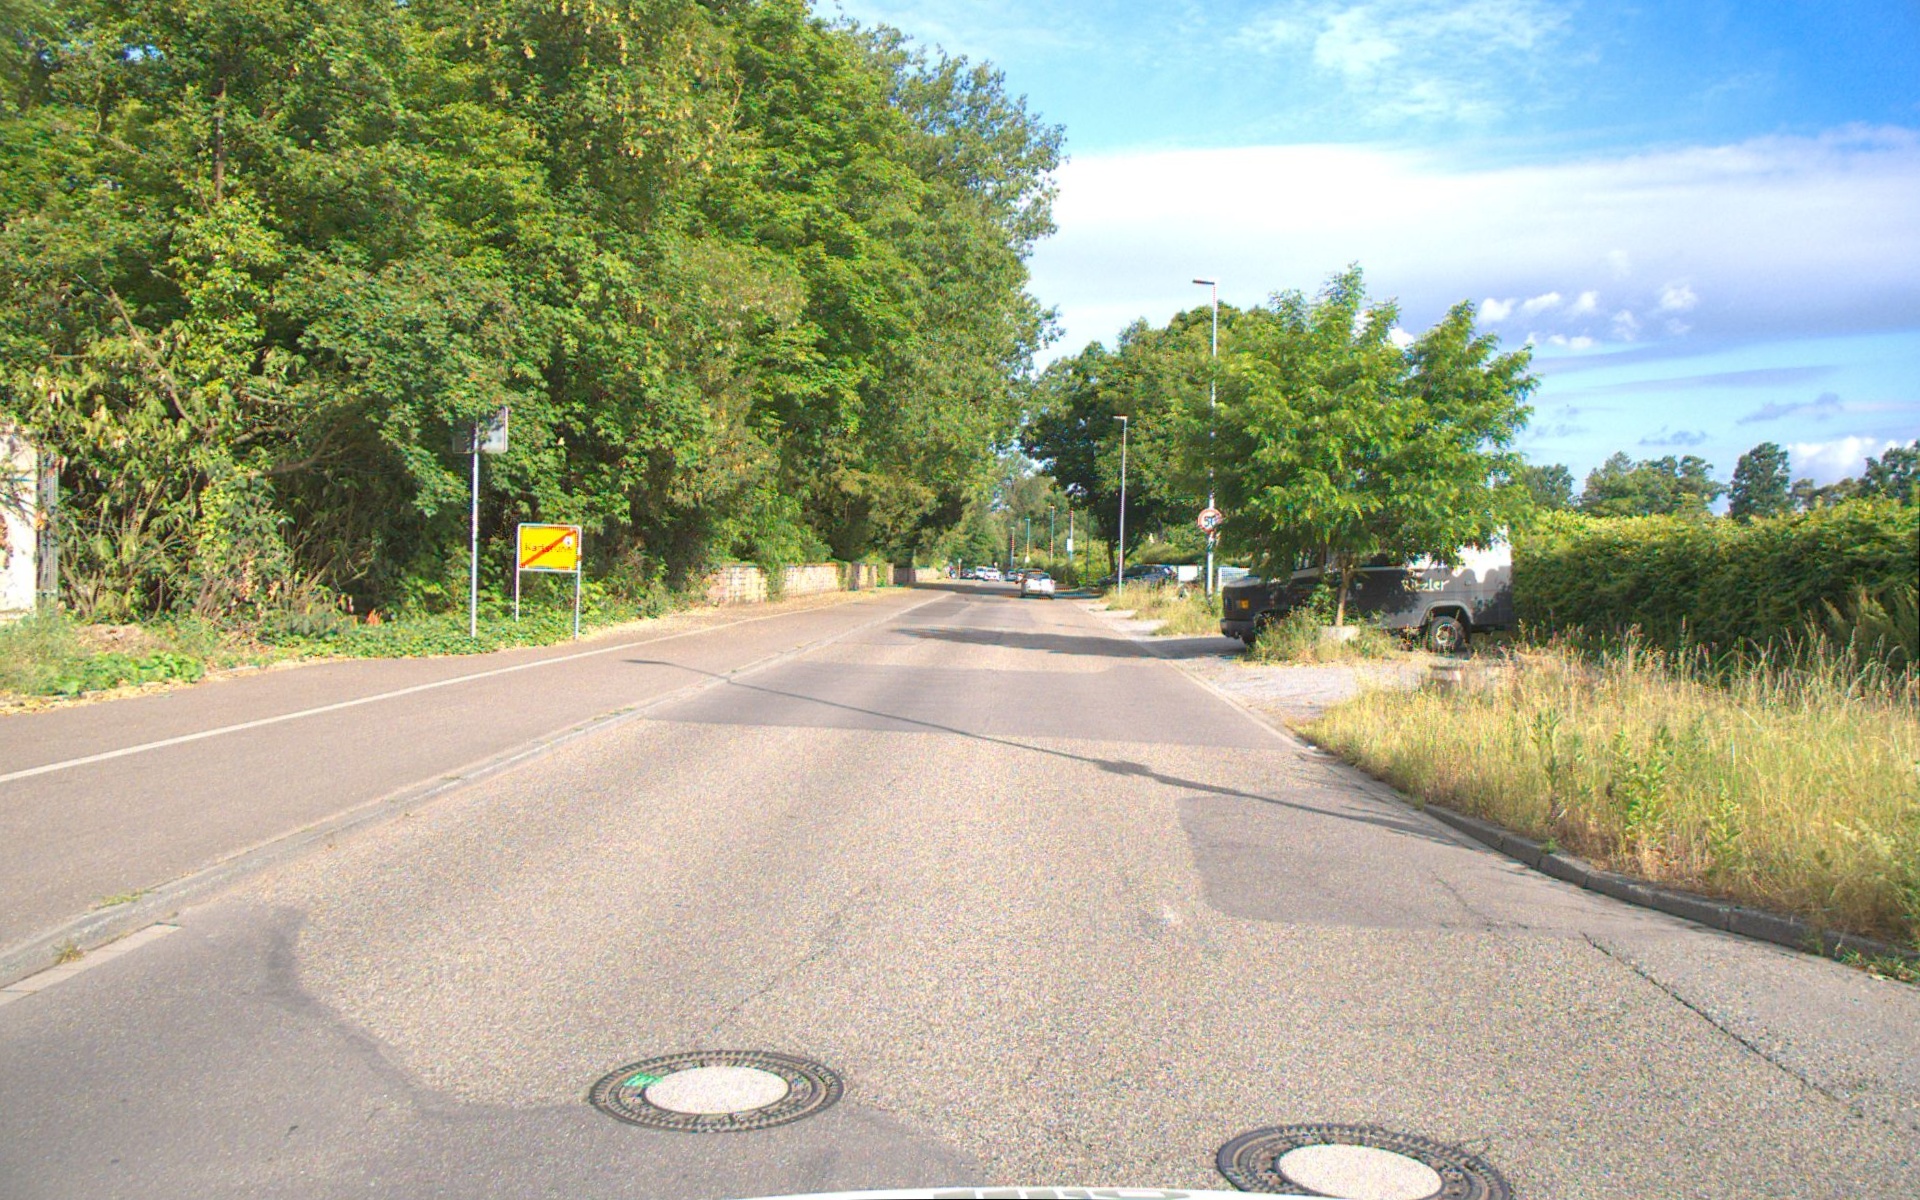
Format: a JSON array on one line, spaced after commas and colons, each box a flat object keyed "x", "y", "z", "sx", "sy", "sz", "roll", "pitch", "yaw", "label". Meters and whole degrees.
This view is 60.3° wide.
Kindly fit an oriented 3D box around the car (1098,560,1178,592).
[{"x": 9.930, "y": -1.369, "z": 92.545, "sx": 4.311, "sy": 1.675, "sz": 2.001, "roll": -1, "pitch": 1, "yaw": 3, "label": "car"}]

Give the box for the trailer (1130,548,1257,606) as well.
[{"x": 7.613, "y": -0.769, "z": 54.258, "sx": 4.064, "sy": 1.867, "sz": 1.918, "roll": 0, "pitch": 1, "yaw": 6, "label": "trailer"}]

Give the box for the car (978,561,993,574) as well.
[{"x": 3.363, "y": -4.290, "z": 217.597, "sx": 1.847, "sy": 1.641, "sz": 4.056, "roll": 1, "pitch": 2, "yaw": 1, "label": "car"}]

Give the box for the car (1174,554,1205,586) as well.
[{"x": 12.578, "y": -1.634, "z": 90.477, "sx": 1.322, "sy": 1.661, "sz": 4.116, "roll": -1, "pitch": 2, "yaw": 12, "label": "car"}]

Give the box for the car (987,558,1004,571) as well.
[{"x": 3.986, "y": -4.021, "z": 187.376, "sx": 1.848, "sy": 1.396, "sz": 4.055, "roll": 1, "pitch": 2, "yaw": 0, "label": "car"}]

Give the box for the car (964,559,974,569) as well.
[{"x": 1.445, "y": -5.674, "z": 260.039, "sx": 1.545, "sy": 1.477, "sz": 3.399, "roll": 1, "pitch": 2, "yaw": 0, "label": "car"}]

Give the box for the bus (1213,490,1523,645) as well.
[{"x": 7.508, "y": -0.623, "z": 30.835, "sx": 5.256, "sy": 2.794, "sz": 2.068, "roll": 0, "pitch": 2, "yaw": -1, "label": "bus"}]

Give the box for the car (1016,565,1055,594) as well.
[{"x": 3.802, "y": -1.067, "z": 83.853, "sx": 1.847, "sy": 1.396, "sz": 4.056, "roll": 1, "pitch": 2, "yaw": 1, "label": "car"}]
